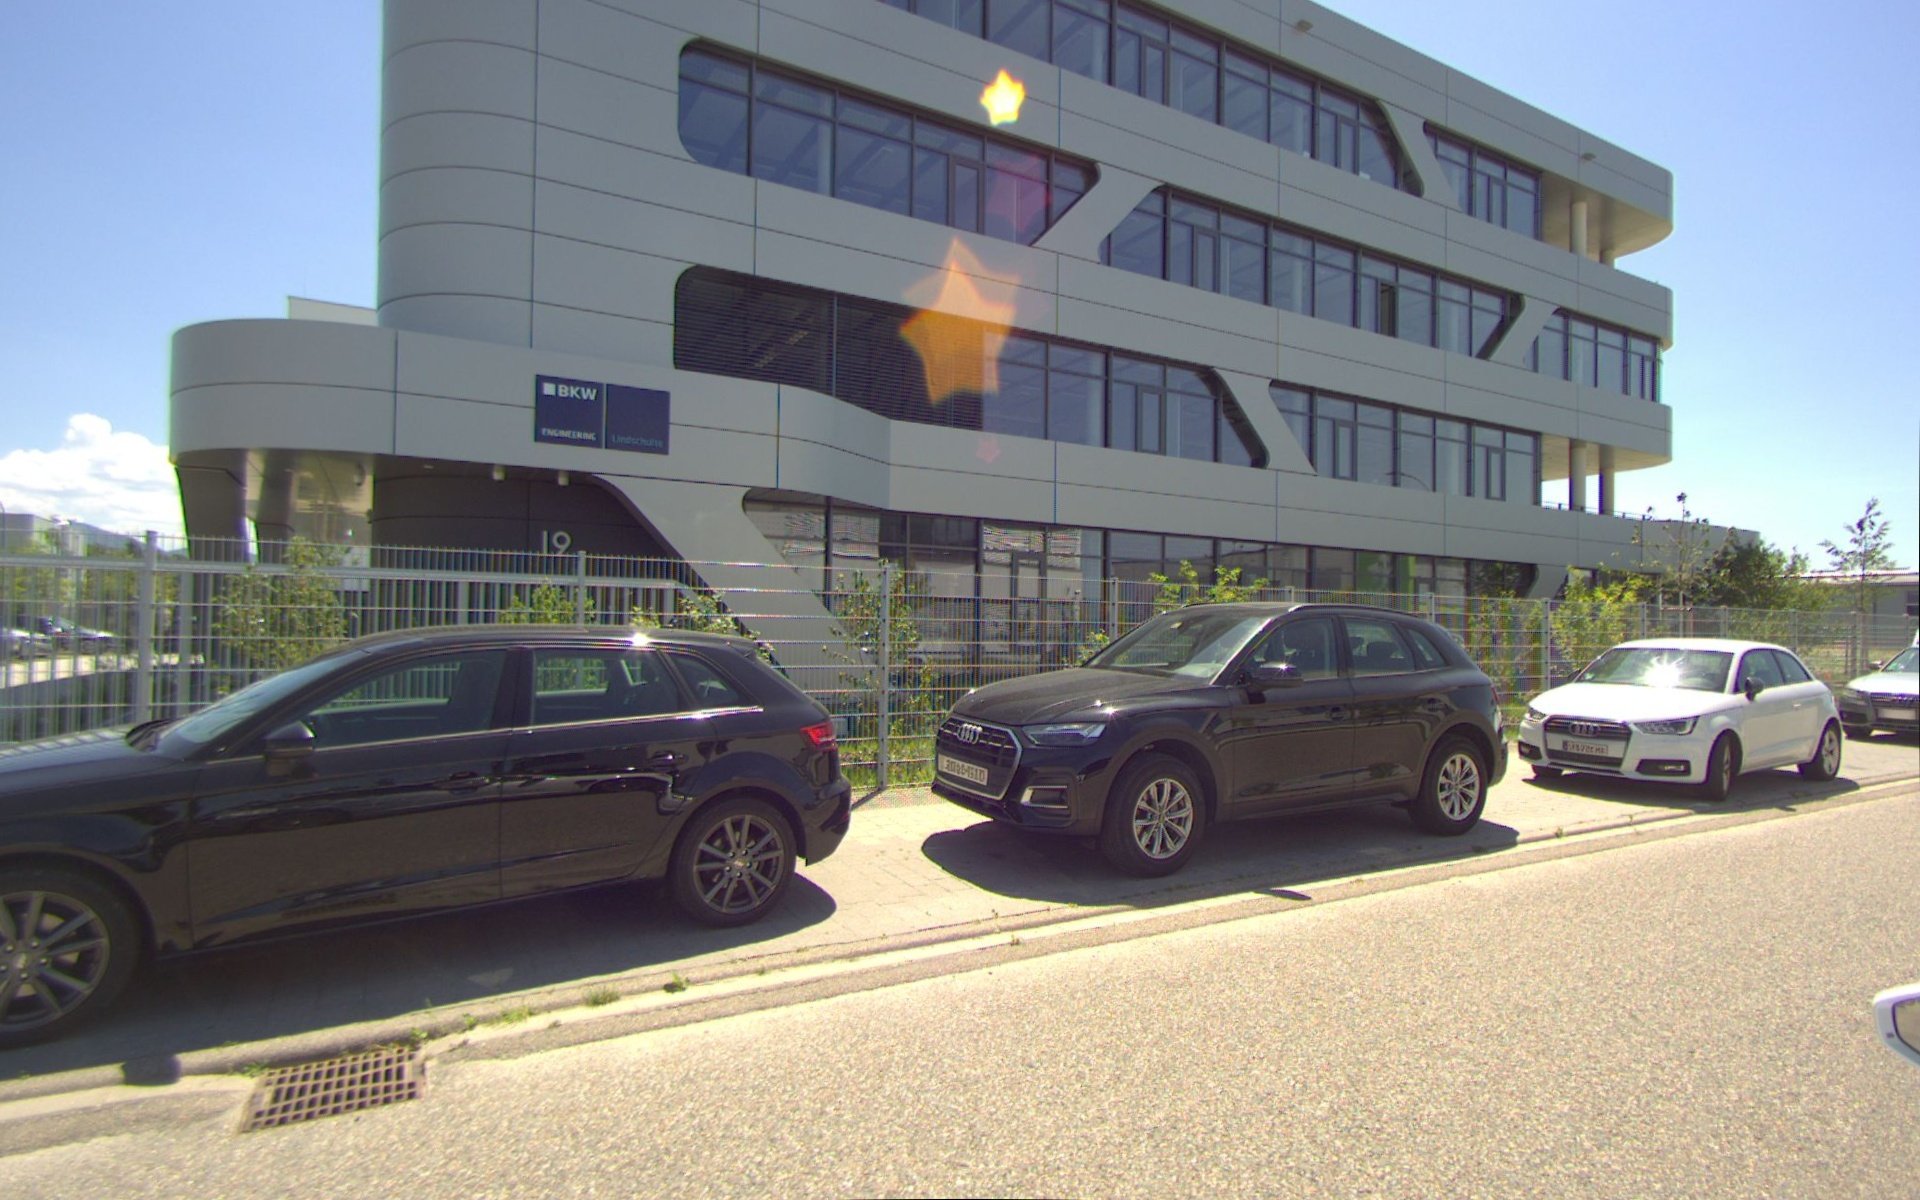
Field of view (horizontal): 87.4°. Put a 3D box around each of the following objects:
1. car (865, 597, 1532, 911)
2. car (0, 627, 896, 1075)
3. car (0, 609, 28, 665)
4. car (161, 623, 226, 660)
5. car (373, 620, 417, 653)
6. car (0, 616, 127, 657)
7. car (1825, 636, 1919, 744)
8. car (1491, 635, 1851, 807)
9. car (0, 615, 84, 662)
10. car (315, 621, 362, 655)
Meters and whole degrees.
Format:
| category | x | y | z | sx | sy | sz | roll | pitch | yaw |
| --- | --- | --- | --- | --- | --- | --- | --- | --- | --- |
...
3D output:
| category | x | y | z | sx | sy | sz | roll | pitch | yaw |
| --- | --- | --- | --- | --- | --- | --- | --- | --- | --- |
| car | 1.854 | 0.866 | 7.300 | 4.790 | 1.673 | 1.762 | 1 | -1 | -28 |
| car | -2.538 | 0.884 | 4.862 | 4.140 | 1.486 | 1.760 | 1 | -1 | -32 |
| car | -28.189 | 0.979 | 27.148 | 4.058 | 1.531 | 1.762 | 2 | -2 | -31 |
| car | -33.952 | 1.826 | 44.591 | 1.756 | 1.531 | 4.072 | 1 | -2 | -30 |
| car | -27.500 | 1.788 | 48.850 | 1.756 | 1.531 | 4.072 | 1 | -2 | -30 |
| car | -35.111 | 1.432 | 38.911 | 4.058 | 1.531 | 1.762 | 2 | -2 | -31 |
| car | 14.735 | 1.250 | 14.722 | 4.583 | 1.404 | 1.676 | 1 | -1 | -30 |
| car | 7.340 | 1.086 | 10.283 | 3.894 | 1.404 | 1.690 | 1 | -1 | -33 |
| car | -32.154 | 1.281 | 33.529 | 4.058 | 1.531 | 1.762 | 2 | -2 | -31 |
| car | -29.310 | 1.794 | 47.452 | 1.756 | 1.531 | 4.072 | 1 | -2 | -30 |
